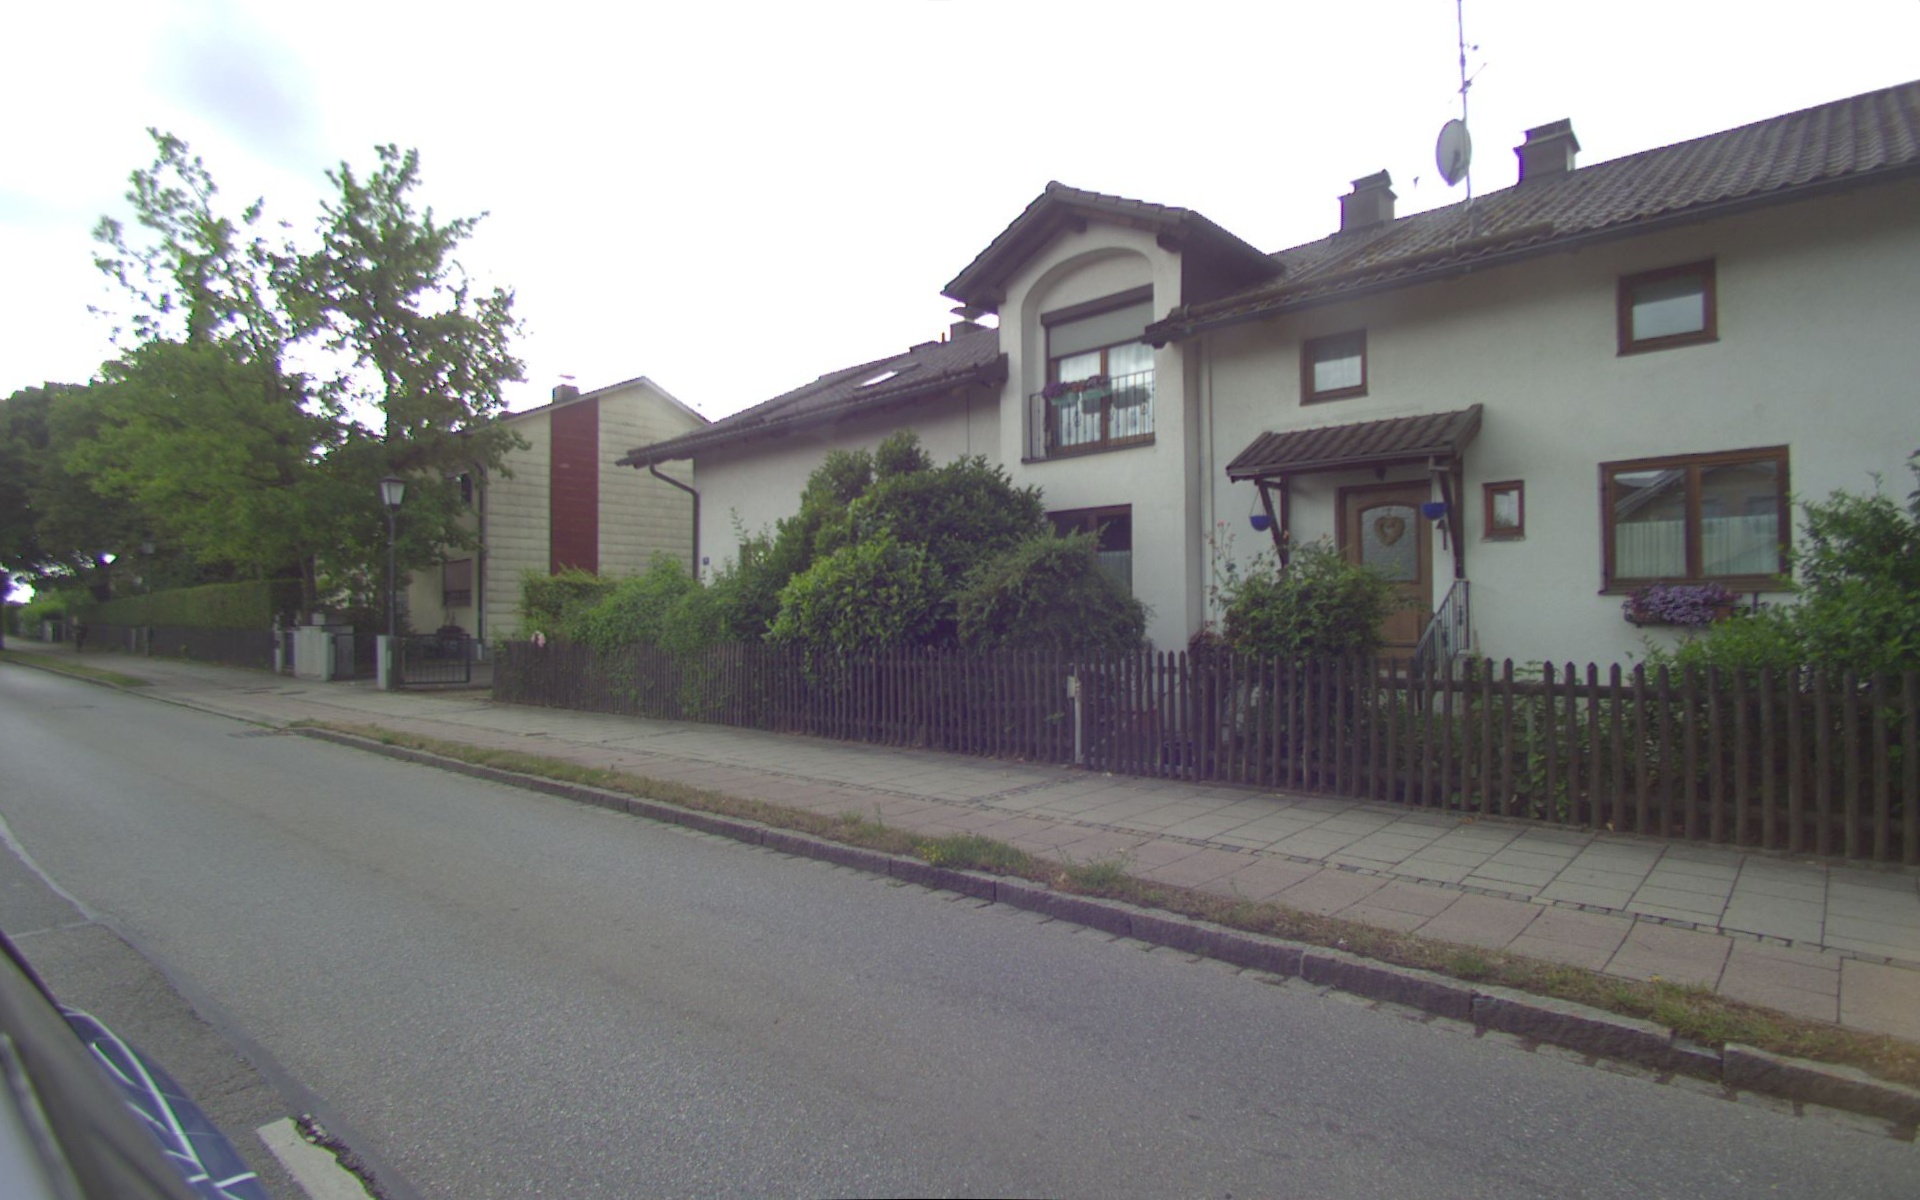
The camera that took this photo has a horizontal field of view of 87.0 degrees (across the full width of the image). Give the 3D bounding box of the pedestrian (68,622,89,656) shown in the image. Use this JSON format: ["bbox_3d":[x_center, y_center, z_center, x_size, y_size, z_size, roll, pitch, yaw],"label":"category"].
[{"bbox_3d":[-38.061,1.658,43.692,0.563,1.448,0.623,-1,-2,41],"label":"pedestrian"}]
